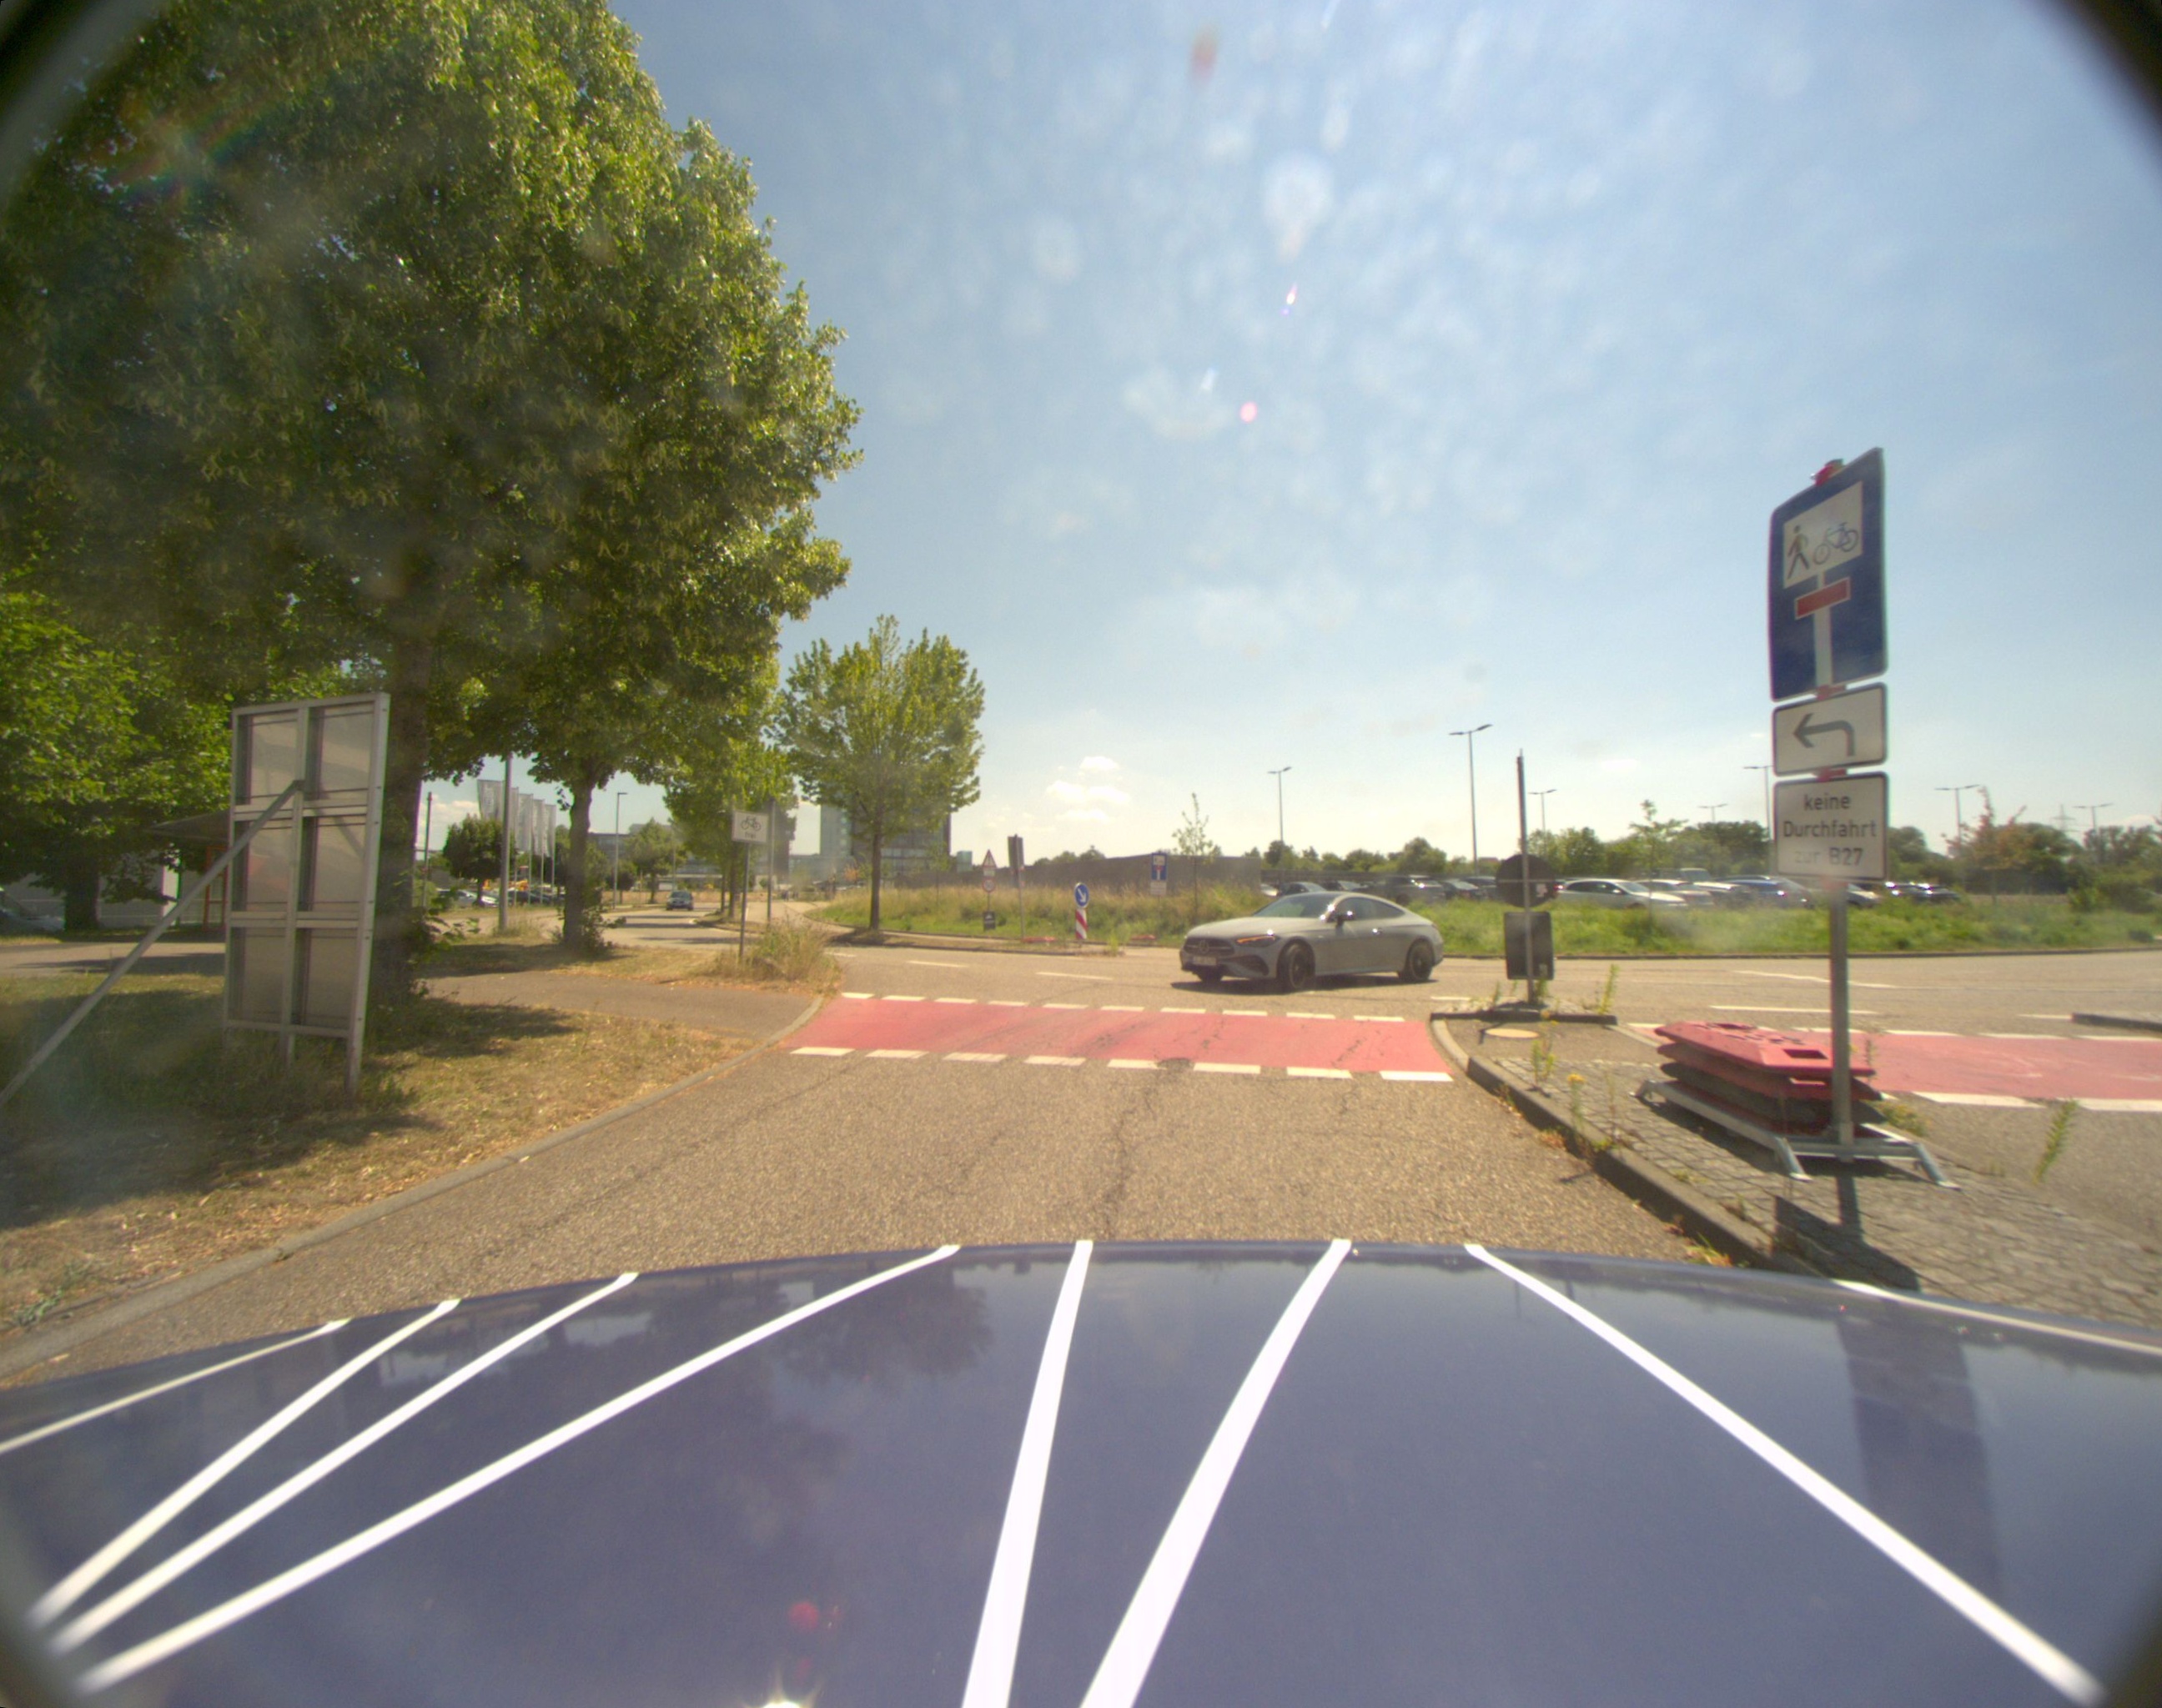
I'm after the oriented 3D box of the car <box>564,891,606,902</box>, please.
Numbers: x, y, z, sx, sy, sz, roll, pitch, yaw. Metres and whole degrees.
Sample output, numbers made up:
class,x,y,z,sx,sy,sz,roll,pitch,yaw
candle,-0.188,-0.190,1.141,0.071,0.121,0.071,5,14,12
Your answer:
class,x,y,z,sx,sy,sz,roll,pitch,yaw
car,-58.349,4.953,89.422,3.849,1.266,1.606,1,-2,-24

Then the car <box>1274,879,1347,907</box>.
class,x,y,z,sx,sy,sz,roll,pitch,yaw
car,12.417,2.087,41.243,1.656,1.437,3.632,1,-2,-31

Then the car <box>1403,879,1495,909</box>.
class,x,y,z,sx,sy,sz,roll,pitch,yaw
car,17.897,1.896,37.129,1.655,1.354,3.842,0,-2,-25

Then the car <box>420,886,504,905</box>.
class,x,y,z,sx,sy,sz,roll,pitch,yaw
car,-43.255,2.927,53.183,4.282,1.174,1.492,0,-4,-25

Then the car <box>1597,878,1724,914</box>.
class,x,y,z,sx,sy,sz,roll,pitch,yaw
car,20.832,1.522,27.447,1.503,1.174,3.266,-1,-2,-24

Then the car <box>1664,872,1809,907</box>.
class,x,y,z,sx,sy,sz,roll,pitch,yaw
car,25.601,1.416,29.832,1.588,1.249,3.940,-1,-3,-27

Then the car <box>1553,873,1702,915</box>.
class,x,y,z,sx,sy,sz,roll,pitch,yaw
car,18.636,1.373,26.116,1.576,1.289,3.872,-1,-2,-23

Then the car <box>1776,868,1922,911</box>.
class,x,y,z,sx,sy,sz,roll,pitch,yaw
car,31.024,1.416,30.822,1.620,1.614,3.842,1,-2,-26

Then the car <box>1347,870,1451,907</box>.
class,x,y,z,sx,sy,sz,roll,pitch,yaw
car,15.133,1.705,36.459,1.780,1.679,4.597,2,-4,-25

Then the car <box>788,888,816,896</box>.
class,x,y,z,sx,sy,sz,roll,pitch,yaw
car,-41.909,5.711,114.128,3.849,1.266,1.606,1,-2,-24

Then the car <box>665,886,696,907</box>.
class,x,y,z,sx,sy,sz,roll,pitch,yaw
car,-32.011,3.412,60.821,1.681,1.495,3.569,0,-4,-20

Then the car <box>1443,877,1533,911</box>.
class,x,y,z,sx,sy,sz,roll,pitch,yaw
car,20.369,1.953,38.152,1.772,1.587,3.633,1,-2,-25

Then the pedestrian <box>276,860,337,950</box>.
class,x,y,z,sx,sy,sz,roll,pitch,yaw
pedestrian,-14.699,0.962,14.433,0.579,1.659,0.531,-2,-4,4

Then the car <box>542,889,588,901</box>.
class,x,y,z,sx,sy,sz,roll,pitch,yaw
car,-56.078,4.423,82.645,3.897,1.266,1.702,1,-2,-24

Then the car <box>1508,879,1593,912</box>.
class,x,y,z,sx,sy,sz,roll,pitch,yaw
car,24.536,2.190,39.821,1.524,1.563,3.415,0,-5,-27

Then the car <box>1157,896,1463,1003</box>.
class,x,y,z,sx,sy,sz,roll,pitch,yaw
car,3.642,1.393,11.856,4.642,1.374,1.895,3,-4,-30

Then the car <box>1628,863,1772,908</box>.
class,x,y,z,sx,sy,sz,roll,pitch,yaw
car,23.184,1.205,28.625,1.878,1.518,3.744,-1,-2,-19

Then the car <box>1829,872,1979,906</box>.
class,x,y,z,sx,sy,sz,roll,pitch,yaw
car,36.091,1.585,33.460,1.911,1.283,3.995,0,-5,-23

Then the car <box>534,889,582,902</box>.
class,x,y,z,sx,sy,sz,roll,pitch,yaw
car,-55.213,4.354,80.265,3.897,1.266,1.702,1,-2,-24
